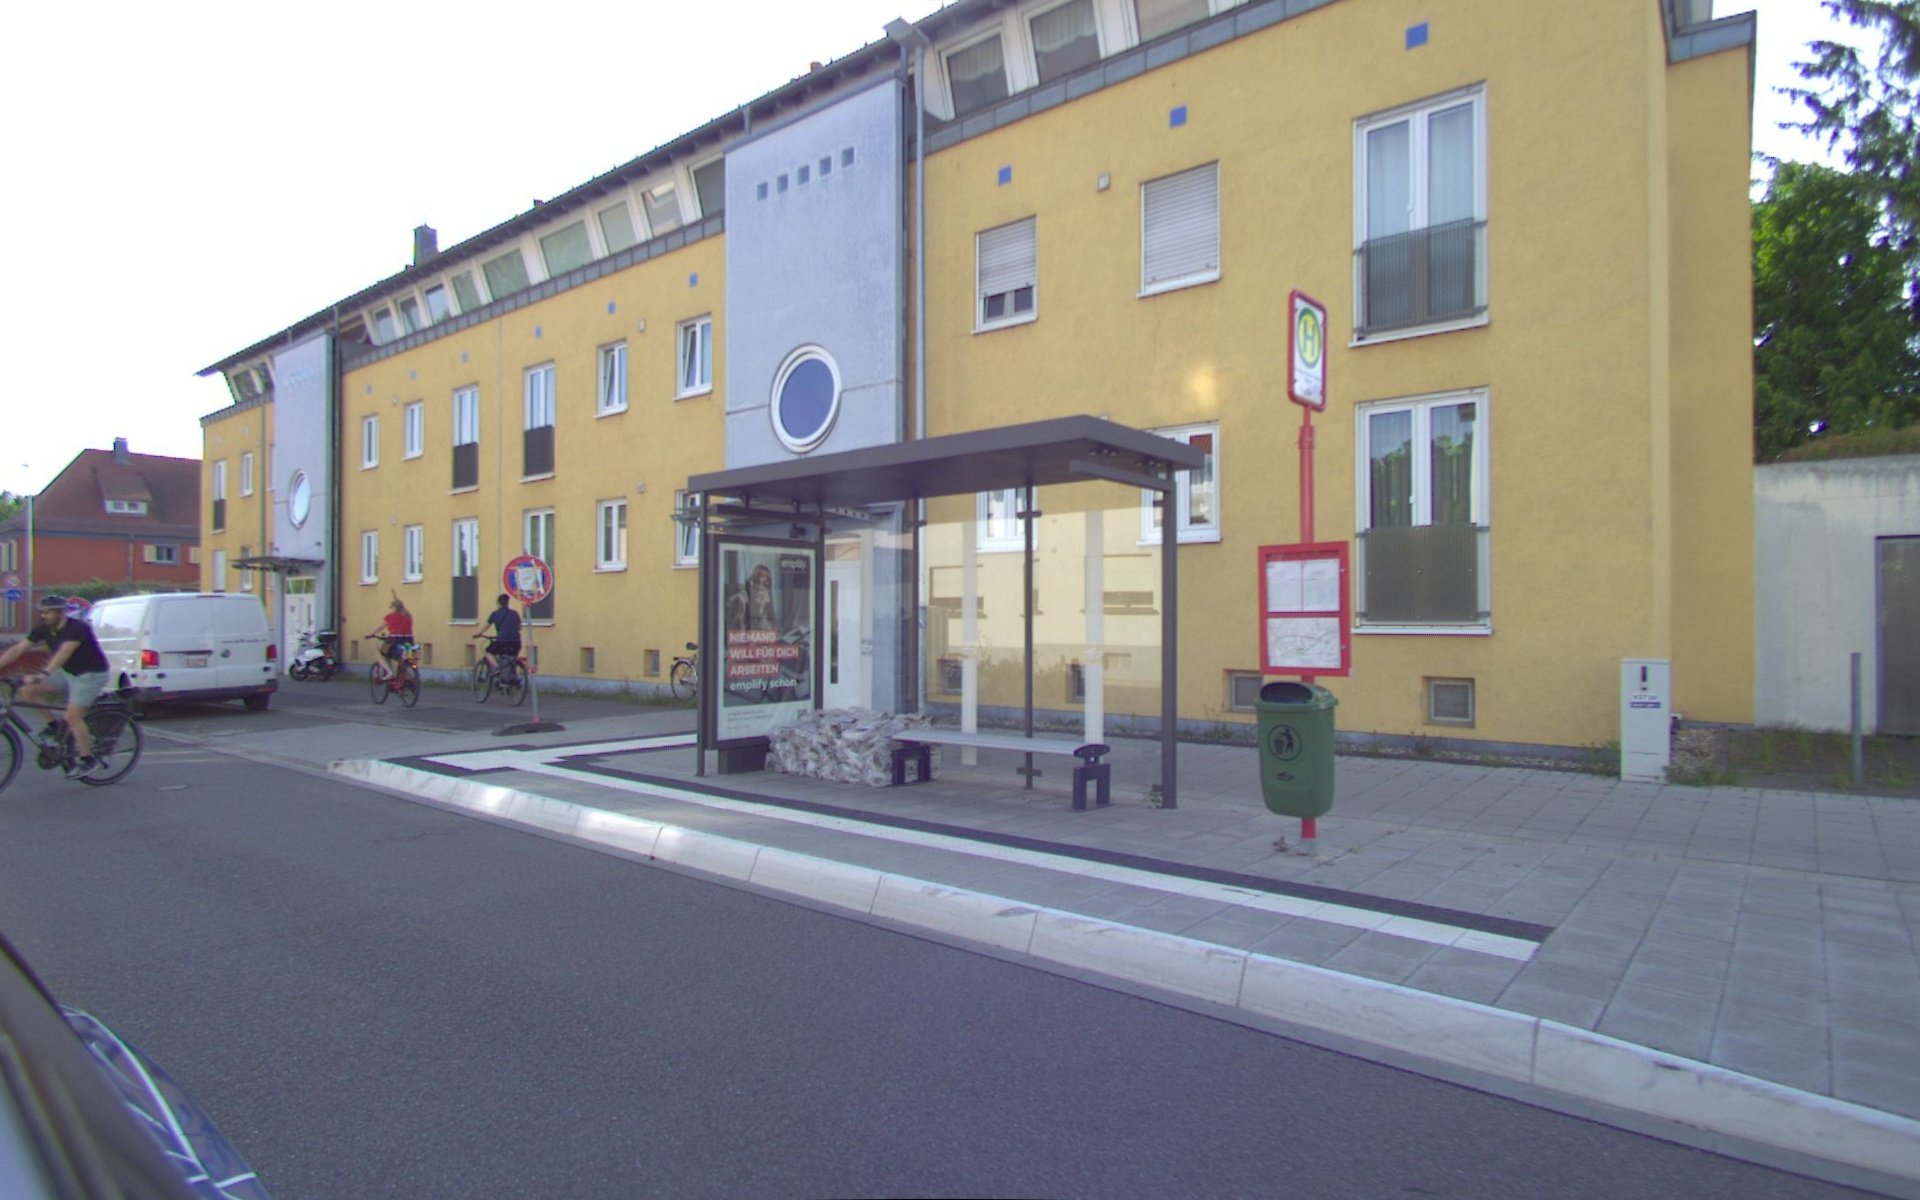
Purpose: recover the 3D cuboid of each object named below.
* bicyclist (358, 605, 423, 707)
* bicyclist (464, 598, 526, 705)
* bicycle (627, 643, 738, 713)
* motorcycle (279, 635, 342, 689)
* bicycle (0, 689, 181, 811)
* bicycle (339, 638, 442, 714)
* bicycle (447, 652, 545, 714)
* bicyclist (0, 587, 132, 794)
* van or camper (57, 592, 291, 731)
[{"bbox_3d":[-9.344,0.906,16.595,0.725,1.615,0.664,-2,-1,33],"label":"bicyclist"},{"bbox_3d":[-7.517,0.817,16.365,0.665,1.682,0.667,-2,-1,38],"label":"bicyclist"},{"bbox_3d":[-4.360,1.186,15.807,1.905,1.005,0.709,-2,-1,40],"label":"bicycle"},{"bbox_3d":[-15.192,1.432,23.663,1.874,1.191,0.577,-1,-1,35],"label":"motorcycle"},{"bbox_3d":[-7.997,1.289,8.818,0.673,0.861,2.021,-1,-1,8],"label":"bicycle"},{"bbox_3d":[-9.369,1.221,16.625,2.016,1.169,0.607,-2,-1,33],"label":"bicycle"},{"bbox_3d":[-7.537,1.315,16.390,1.871,0.919,0.683,-2,-1,39],"label":"bicycle"},{"bbox_3d":[-7.987,0.753,8.815,0.836,1.702,0.875,-1,-1,9],"label":"bicyclist"},{"bbox_3d":[-13.339,0.949,17.062,4.913,2.018,1.975,-1,-1,38],"label":"van or camper"}]
